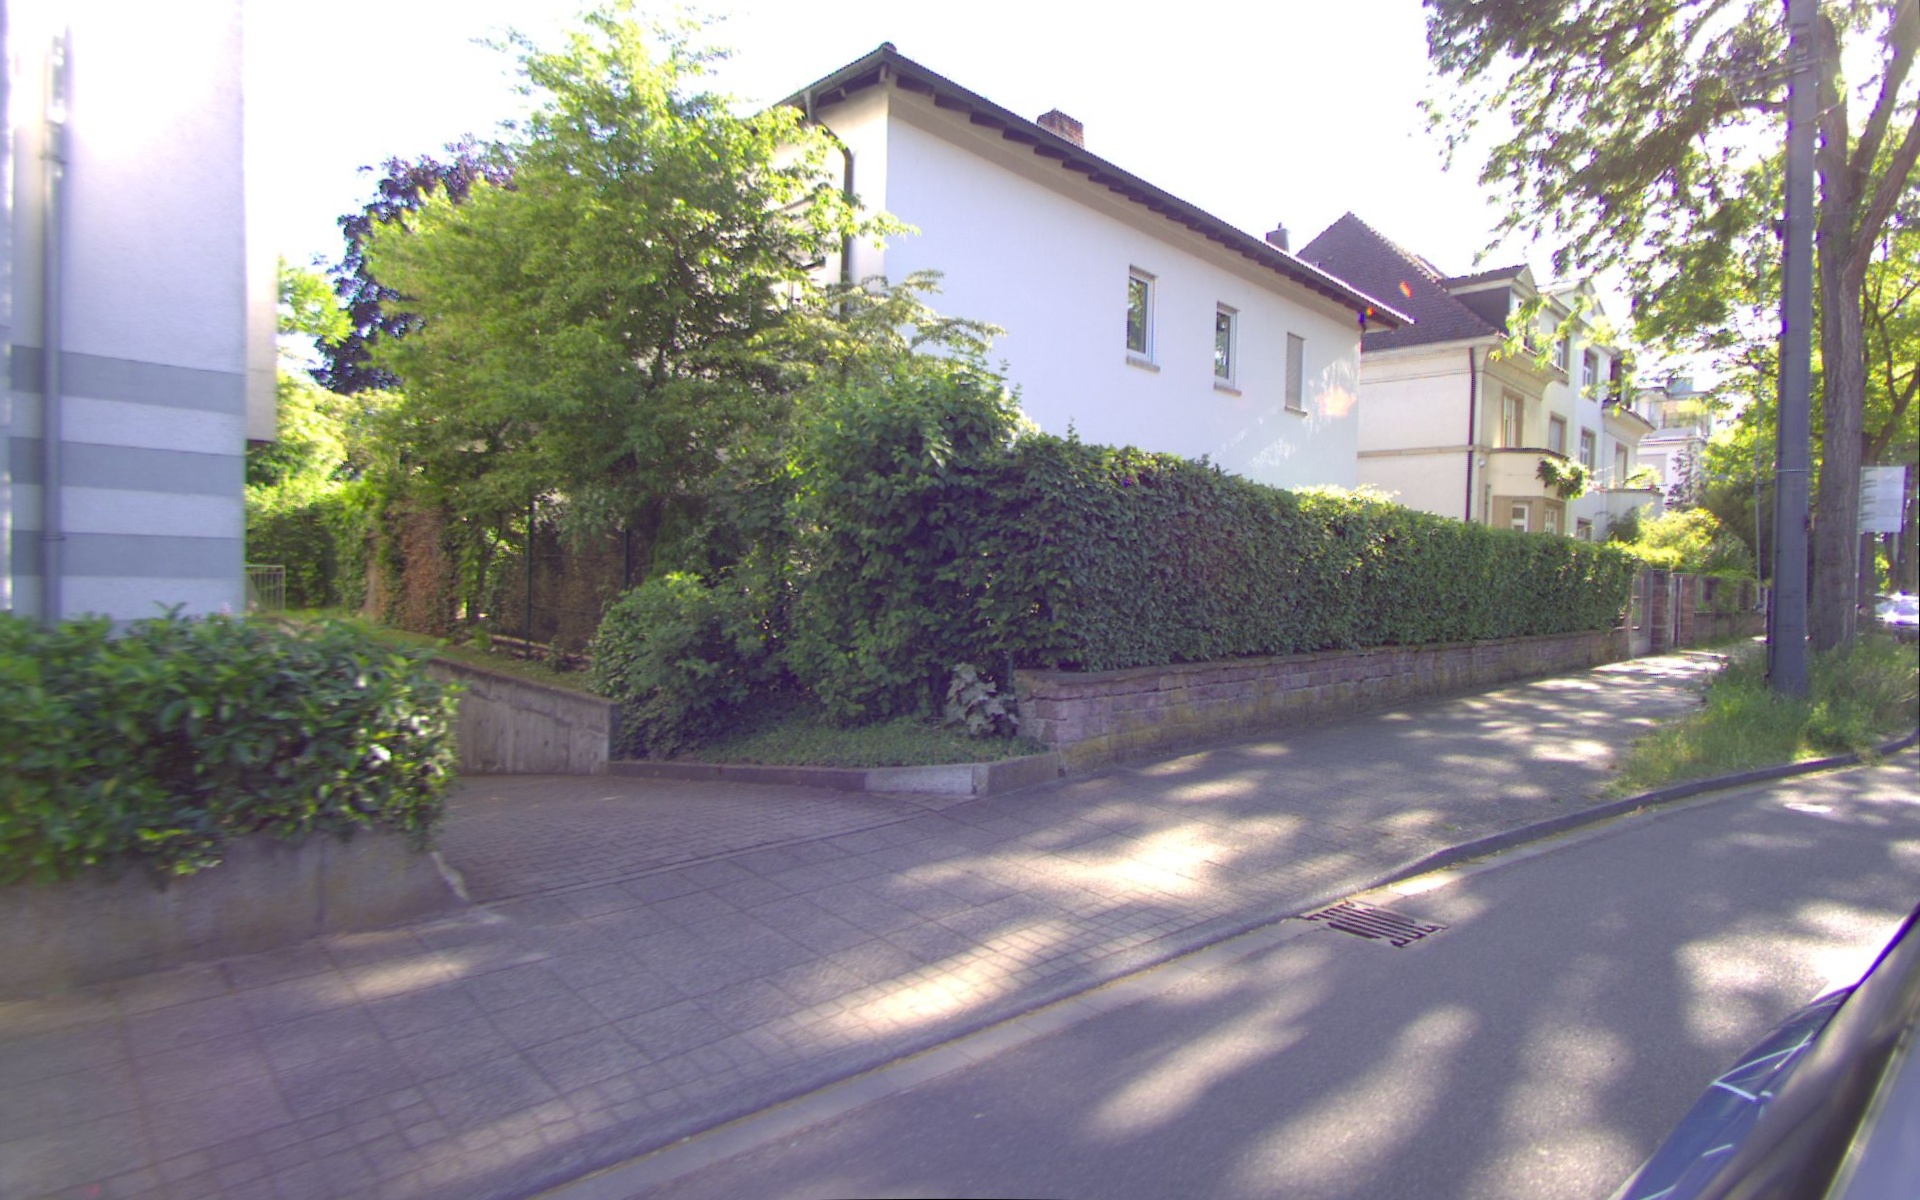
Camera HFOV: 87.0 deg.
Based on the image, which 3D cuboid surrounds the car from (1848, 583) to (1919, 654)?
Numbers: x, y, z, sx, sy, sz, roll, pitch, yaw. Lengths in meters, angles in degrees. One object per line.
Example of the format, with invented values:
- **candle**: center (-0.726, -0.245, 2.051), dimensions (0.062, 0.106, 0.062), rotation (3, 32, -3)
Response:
- **car**: center (25.333, 0.434, 27.122), dimensions (4.103, 1.765, 1.995), rotation (-1, 2, -45)
